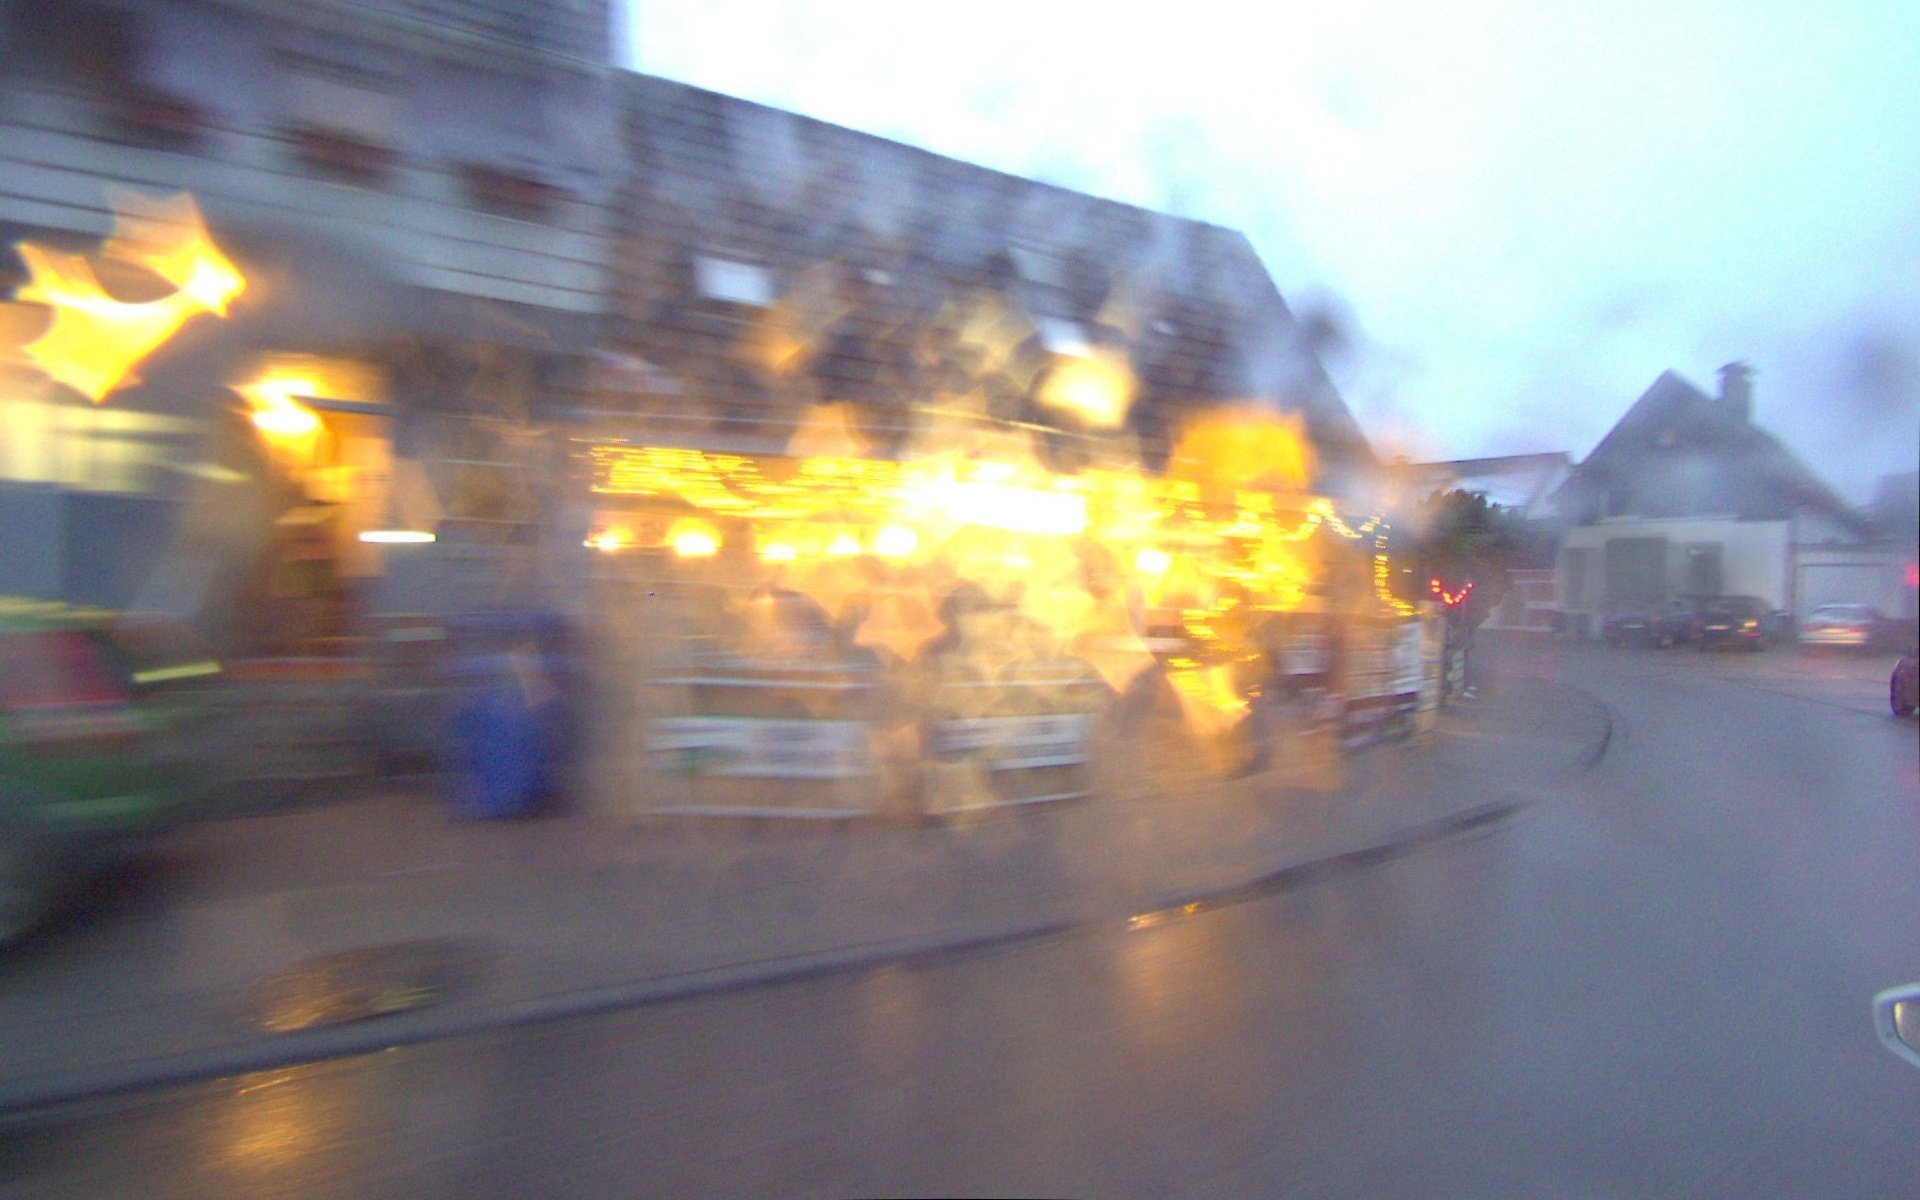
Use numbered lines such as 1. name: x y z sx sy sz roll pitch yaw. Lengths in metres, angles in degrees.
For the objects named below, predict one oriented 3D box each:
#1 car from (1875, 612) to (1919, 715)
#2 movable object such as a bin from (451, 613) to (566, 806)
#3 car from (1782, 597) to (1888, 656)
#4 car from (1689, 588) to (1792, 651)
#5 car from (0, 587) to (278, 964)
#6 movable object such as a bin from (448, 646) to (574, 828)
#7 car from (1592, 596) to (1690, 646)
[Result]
1. car: 14.784 0.963 14.474 1.523 1.485 3.691 3 1 30
2. movable object such as a bin: -3.297 0.762 7.334 0.722 1.314 0.607 1 0 -27
3. car: 26.038 0.734 29.850 4.004 1.440 1.794 -4 2 -40
4. car: 25.200 0.580 32.382 4.441 1.683 1.833 -4 2 -42
5. car: -5.425 0.648 4.331 3.744 1.440 1.617 3 1 -19
6. movable object such as a bin: -3.020 0.882 6.758 0.722 1.117 0.607 1 0 -27
7. car: 23.793 0.686 35.038 3.861 1.469 1.867 -4 2 -40
